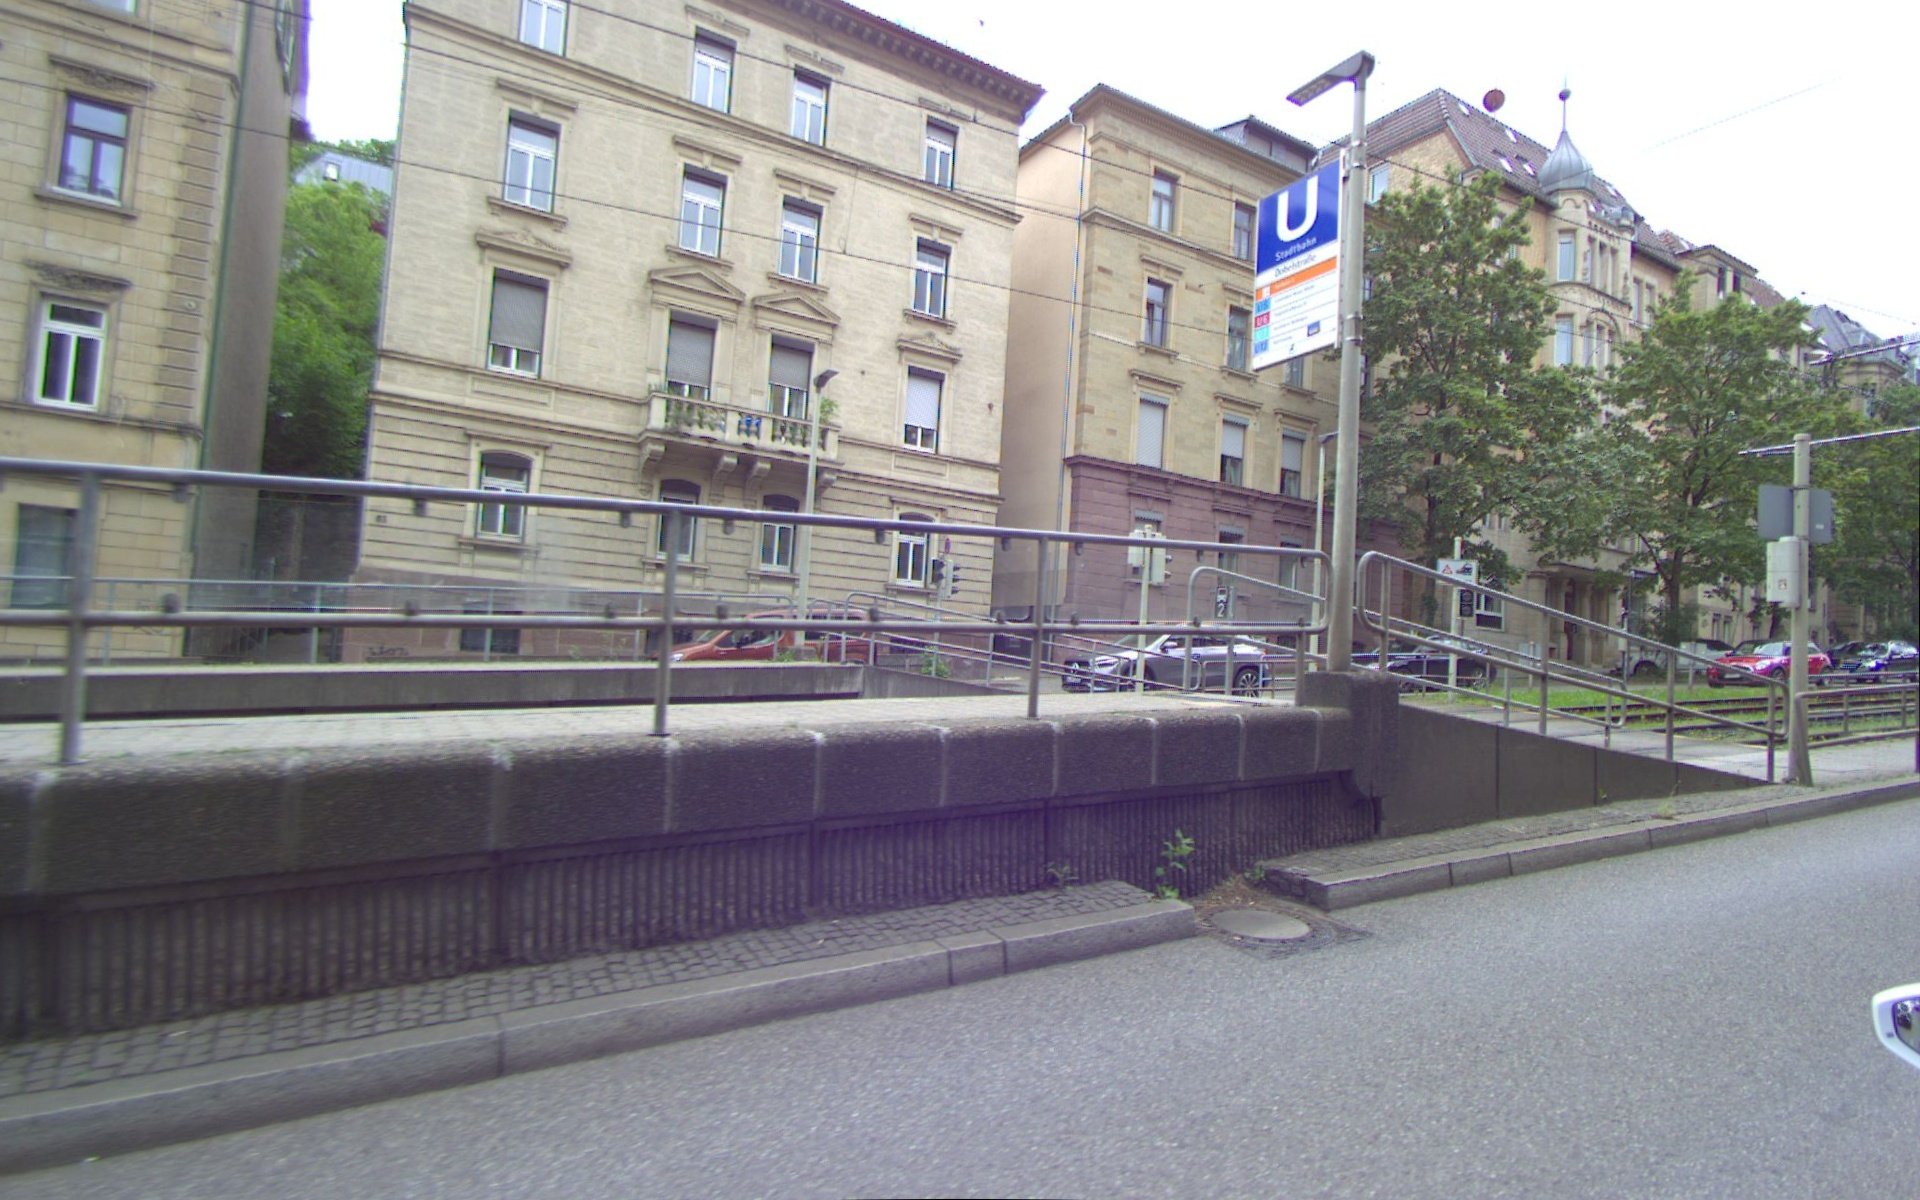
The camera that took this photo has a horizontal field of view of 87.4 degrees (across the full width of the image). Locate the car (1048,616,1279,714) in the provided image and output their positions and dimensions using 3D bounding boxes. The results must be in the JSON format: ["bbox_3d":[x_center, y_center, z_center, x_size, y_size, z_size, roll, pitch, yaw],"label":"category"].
[{"bbox_3d":[4.085,1.245,19.953,4.522,1.758,1.701,2,-2,-30],"label":"car"}]

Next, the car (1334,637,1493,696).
[{"bbox_3d":[11.954,1.722,26.417,4.167,1.466,1.671,2,-3,-29],"label":"car"}]

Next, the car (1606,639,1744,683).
[{"bbox_3d":[26.044,2.187,36.761,3.928,1.441,1.783,0,-2,29],"label":"car"}]

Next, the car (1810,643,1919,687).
[{"bbox_3d":[31.869,2.258,35.189,4.694,1.447,1.740,2,-3,-31],"label":"car"}]

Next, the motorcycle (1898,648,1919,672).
[{"bbox_3d":[45.878,2.874,47.480,2.165,1.072,0.625,2,-1,26],"label":"motorcycle"}]

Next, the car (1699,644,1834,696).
[{"bbox_3d":[22.919,1.962,28.534,3.605,1.395,1.572,1,-2,-25],"label":"car"}]

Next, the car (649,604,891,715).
[{"bbox_3d":[-3.541,1.082,18.847,4.090,1.884,1.840,2,-2,-30],"label":"car"}]
